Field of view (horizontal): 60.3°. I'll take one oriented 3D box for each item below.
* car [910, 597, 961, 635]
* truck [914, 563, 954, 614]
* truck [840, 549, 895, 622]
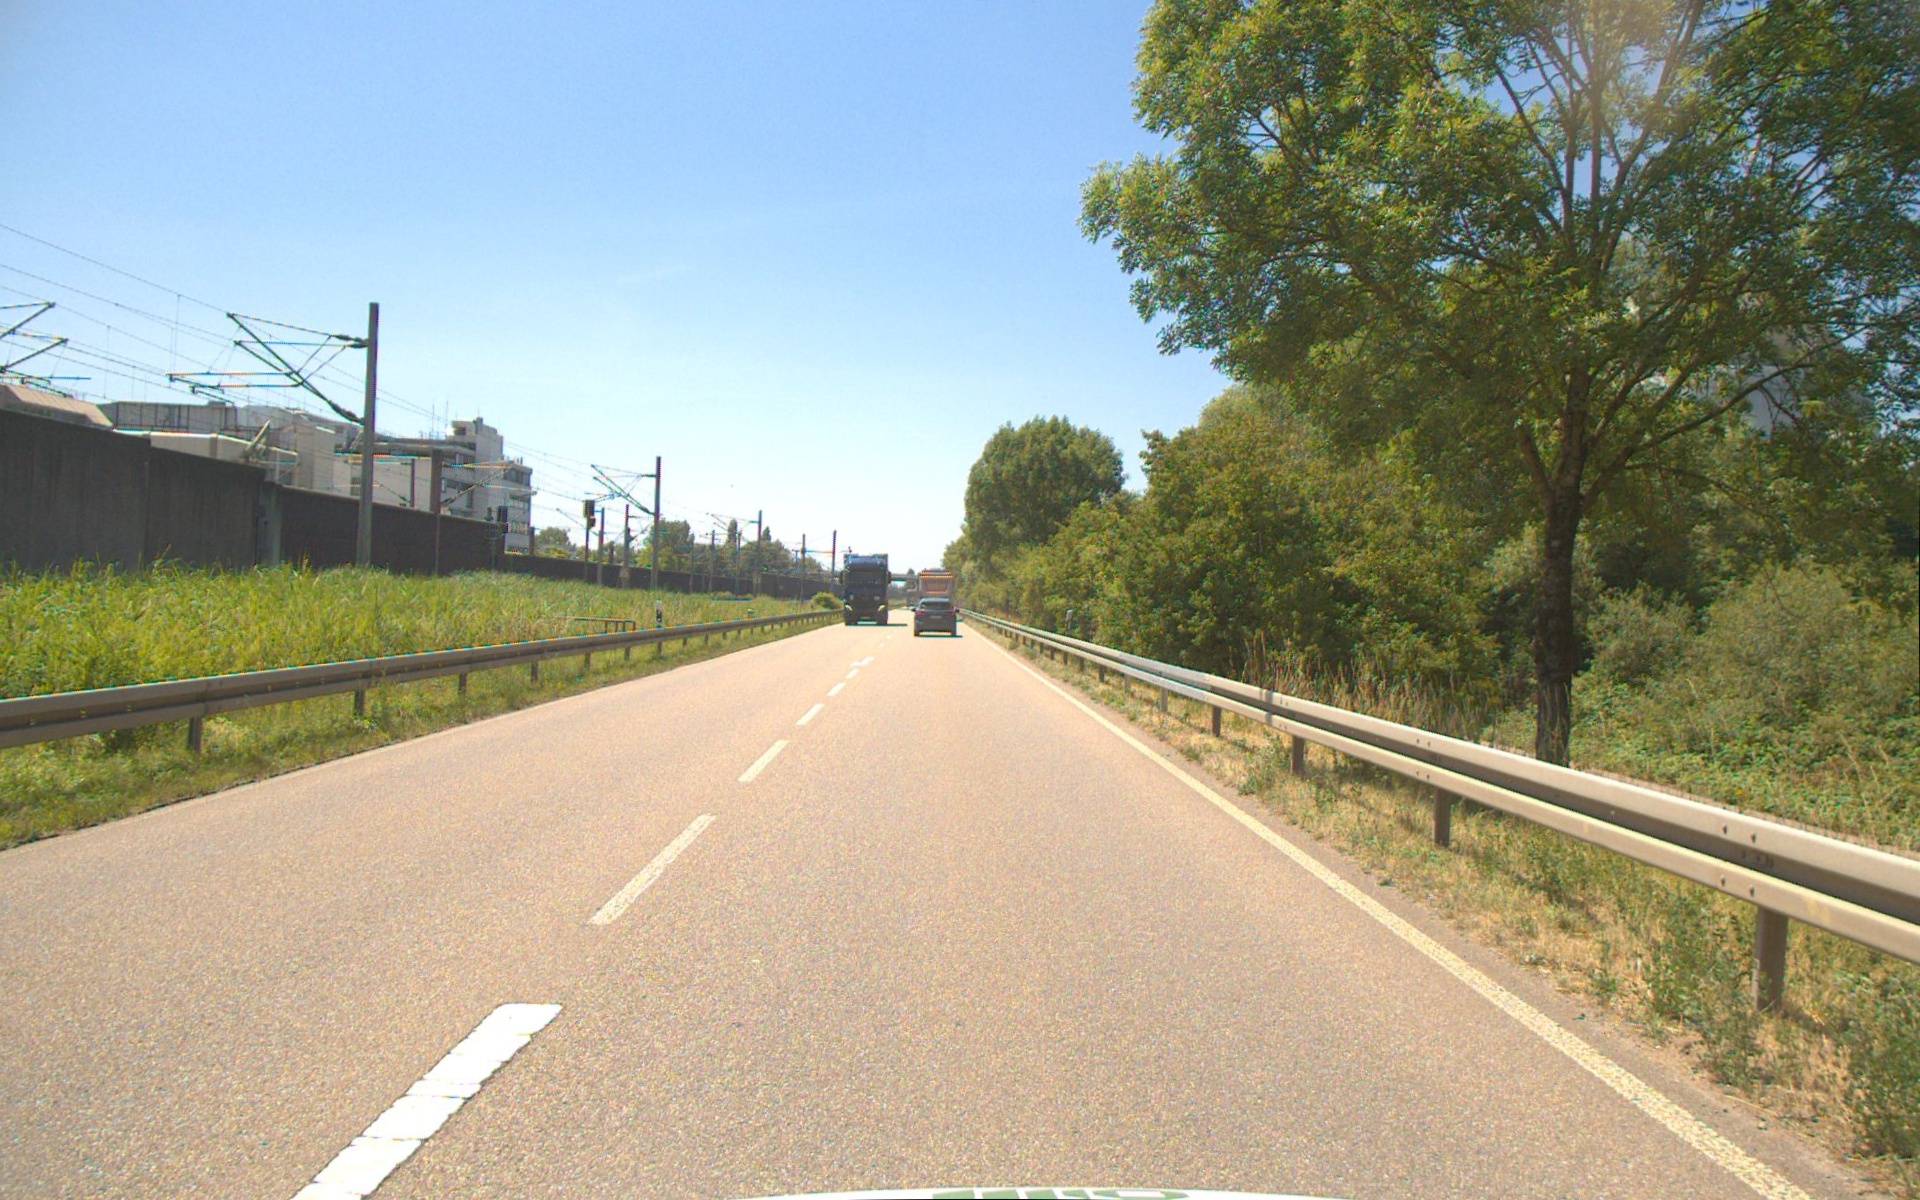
[{"bbox_3d":[-1.042,0.649,69.208,1.954,1.534,3.997,1,0,-3],"label":"car"},{"bbox_3d":[-1.899,-0.790,120.486,2.714,3.485,10.816,1,0,-1],"label":"truck"},{"bbox_3d":[-5.359,-0.839,97.548,2.740,4.047,10.497,-1,0,-1],"label":"truck"}]
